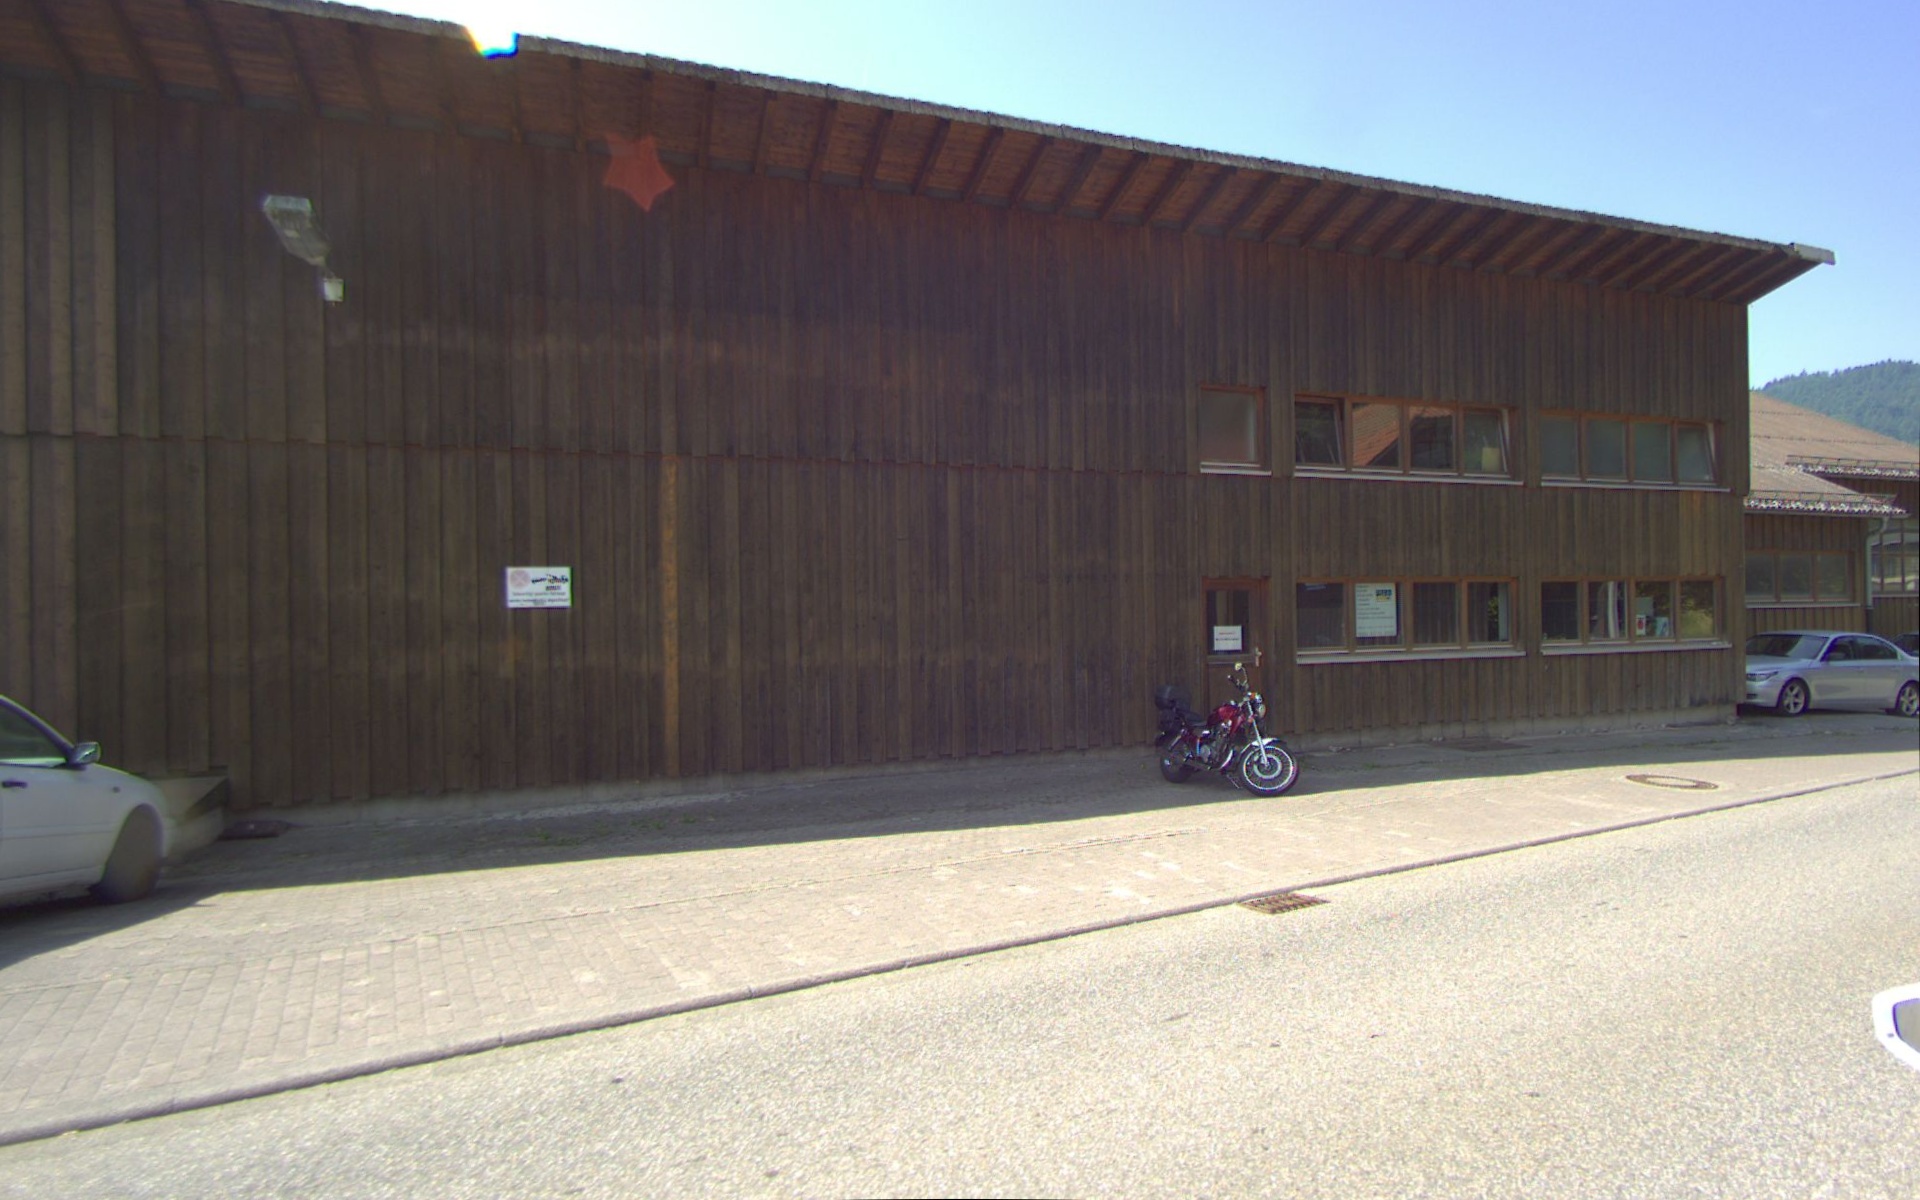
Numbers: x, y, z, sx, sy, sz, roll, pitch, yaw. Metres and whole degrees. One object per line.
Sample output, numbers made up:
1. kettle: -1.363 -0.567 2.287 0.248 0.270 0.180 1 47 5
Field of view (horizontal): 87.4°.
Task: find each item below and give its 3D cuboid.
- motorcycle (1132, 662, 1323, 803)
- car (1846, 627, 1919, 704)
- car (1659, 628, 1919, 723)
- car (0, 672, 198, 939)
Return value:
1. motorcycle: 2.783 1.334 10.810 0.732 1.281 2.406 0 -2 -20
2. car: 22.509 1.476 22.992 3.961 1.591 1.579 1 2 -19
3. car: 15.000 1.270 17.826 4.727 1.473 1.728 0 -1 -17
4. car: -5.964 1.111 5.371 1.682 1.403 3.663 0 -6 -15
